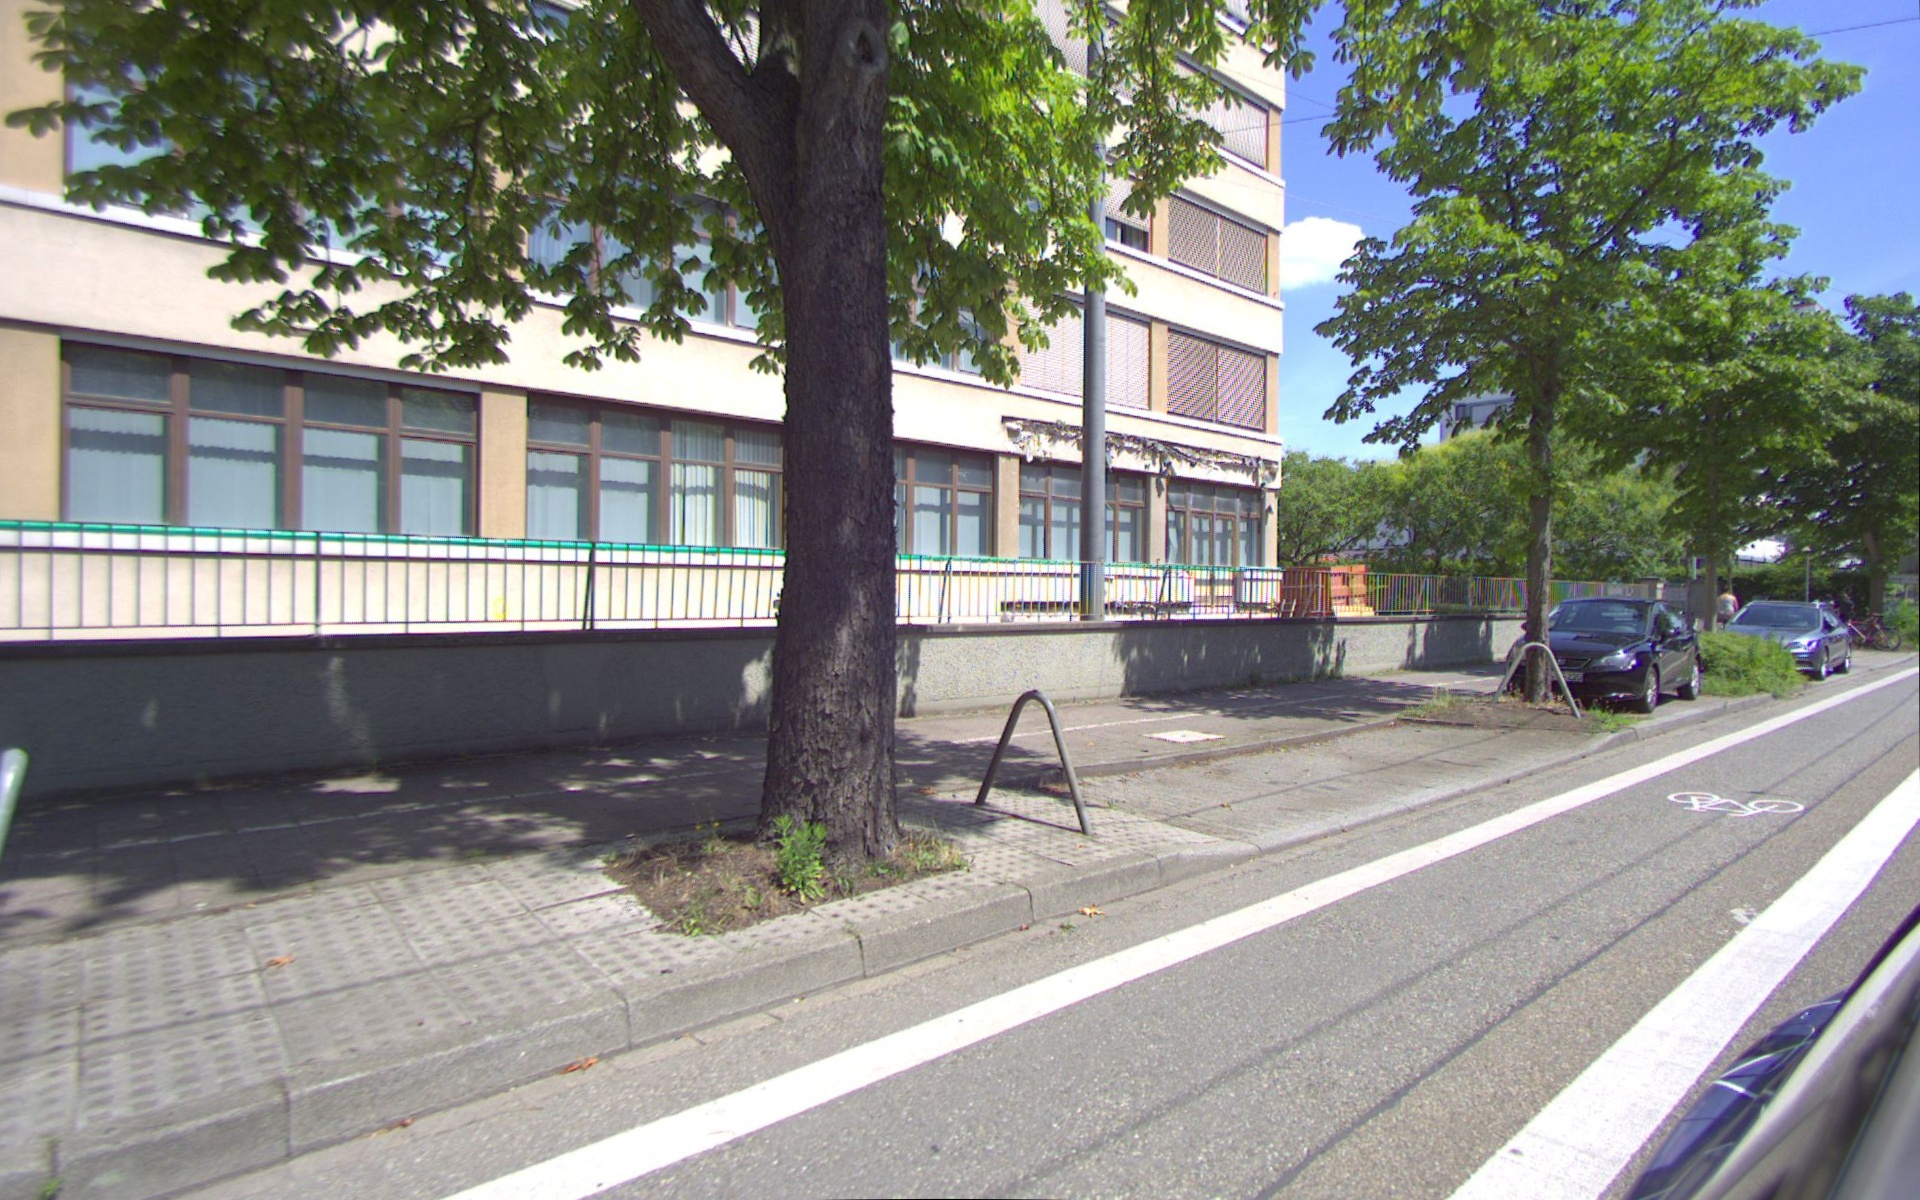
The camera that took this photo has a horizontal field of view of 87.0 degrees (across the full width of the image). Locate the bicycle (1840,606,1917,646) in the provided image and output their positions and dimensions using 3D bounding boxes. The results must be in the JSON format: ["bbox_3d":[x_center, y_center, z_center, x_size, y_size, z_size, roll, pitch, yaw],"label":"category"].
[{"bbox_3d":[26.138,0.721,28.818,0.552,1.073,1.588,0,0,-41],"label":"bicycle"}]

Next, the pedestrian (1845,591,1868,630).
[{"bbox_3d":[37.396,0.431,42.209,0.600,1.593,0.620,0,1,-40],"label":"pedestrian"}]

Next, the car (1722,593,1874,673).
[{"bbox_3d":[16.908,0.585,20.340,4.667,1.426,1.674,0,1,-42],"label":"car"}]

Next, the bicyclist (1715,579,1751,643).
[{"bbox_3d":[20.489,0.286,26.828,0.589,1.668,0.582,1,2,-41],"label":"bicyclist"}]

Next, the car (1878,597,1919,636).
[{"bbox_3d":[32.849,0.532,34.562,3.766,1.287,1.754,0,-1,-41],"label":"car"}]

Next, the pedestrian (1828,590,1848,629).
[{"bbox_3d":[36.983,0.402,42.620,0.535,1.593,0.514,0,1,-40],"label":"pedestrian"}]

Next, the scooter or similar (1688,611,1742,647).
[{"bbox_3d":[19.200,0.723,25.727,1.528,0.817,0.763,0,2,-41],"label":"scooter or similar"}]

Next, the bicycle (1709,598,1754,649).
[{"bbox_3d":[20.442,0.596,26.797,1.742,1.281,0.556,0,3,-41],"label":"bicycle"}]

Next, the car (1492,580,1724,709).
[{"bbox_3d":[8.888,0.510,13.753,3.912,1.508,1.674,0,1,-42],"label":"car"}]
